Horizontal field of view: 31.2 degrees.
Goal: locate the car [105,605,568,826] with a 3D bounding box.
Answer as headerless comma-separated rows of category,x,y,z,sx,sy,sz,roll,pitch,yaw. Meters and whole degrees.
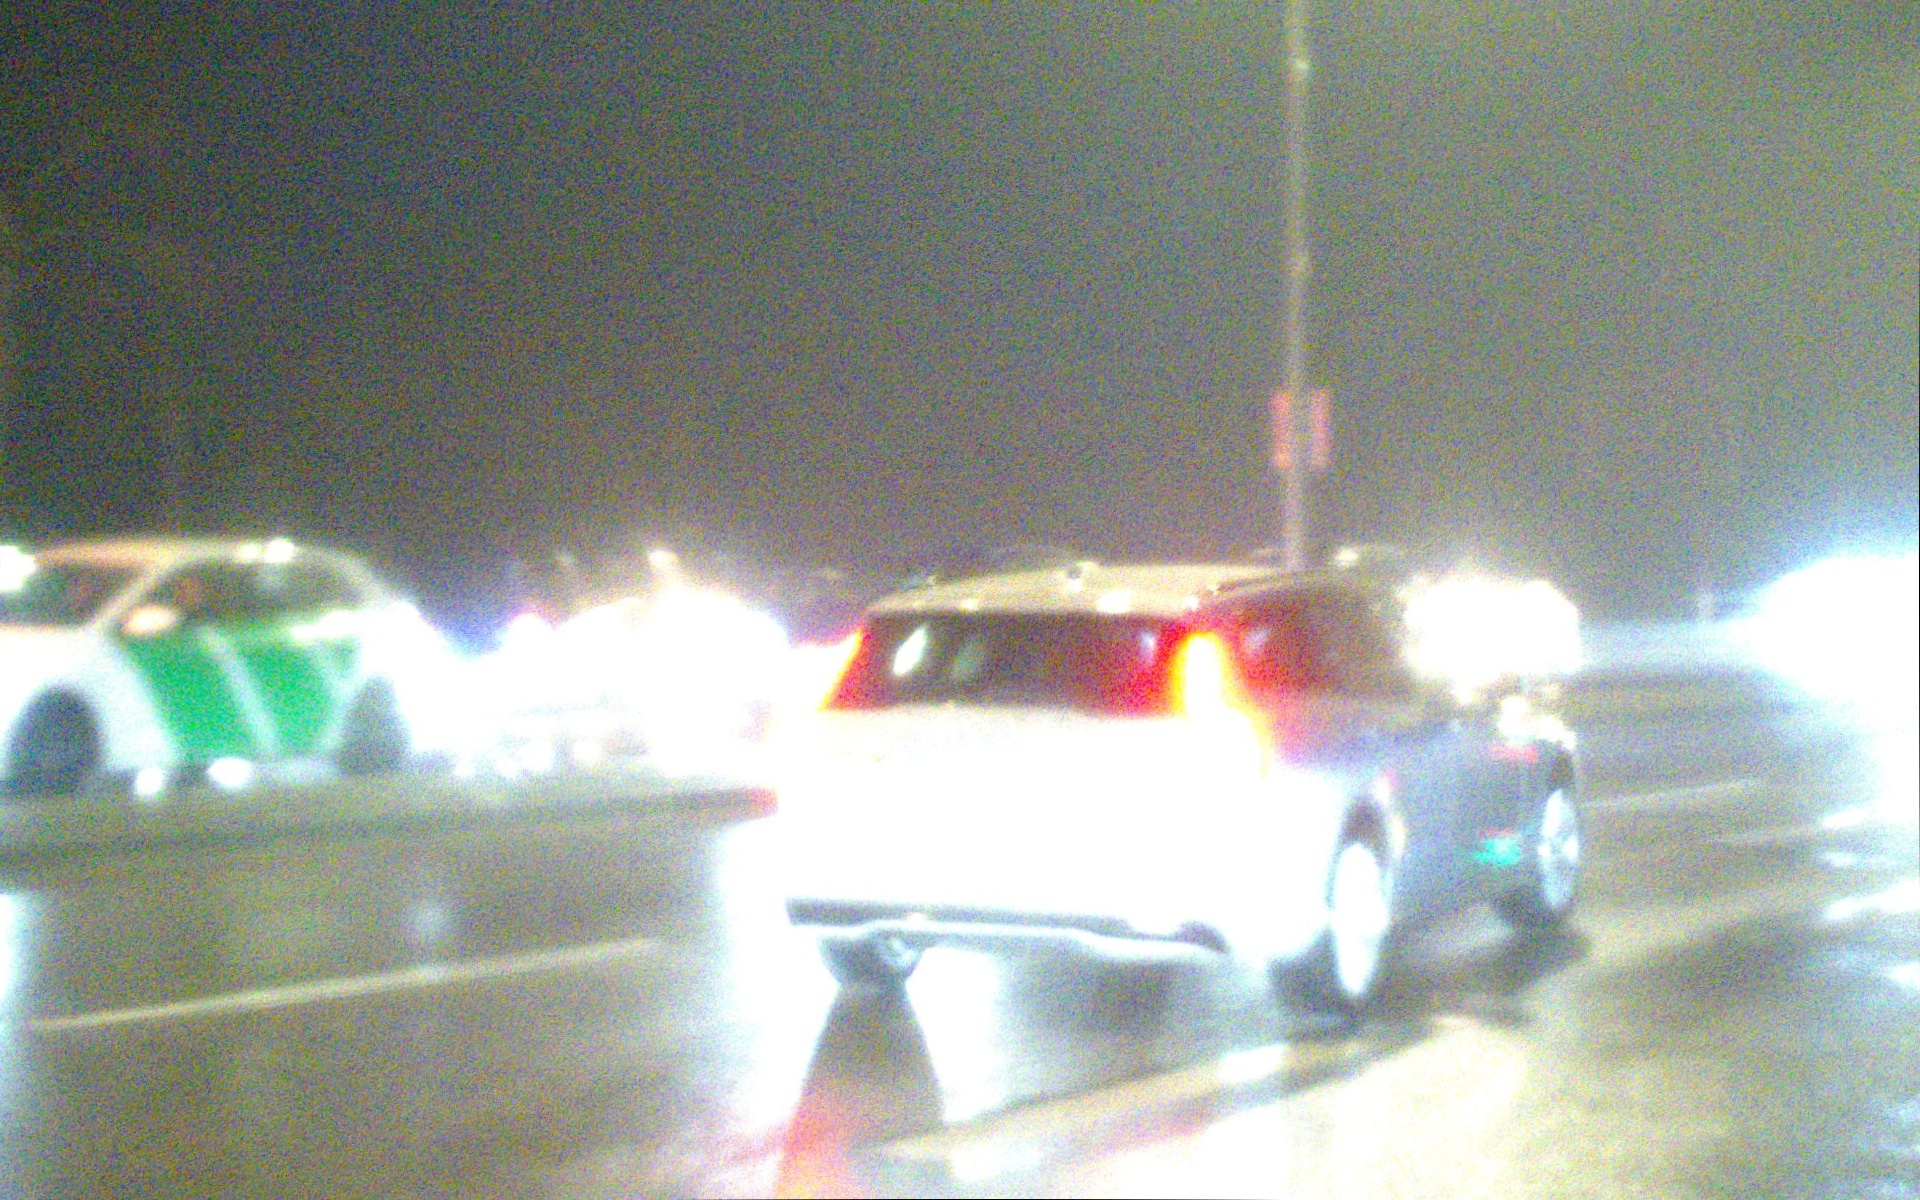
car,-5.593,1.030,31.297,1.763,1.842,4.116,1,-1,33

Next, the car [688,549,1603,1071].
car,0.869,0.609,12.206,1.799,1.447,4.263,2,1,24

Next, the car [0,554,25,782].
car,-9.326,0.470,25.894,1.802,1.793,4.242,1,-1,33

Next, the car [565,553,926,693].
car,-2.212,0.228,36.475,1.763,1.372,4.032,1,0,33

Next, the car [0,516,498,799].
car,-4.814,0.289,19.866,1.780,1.479,4.403,1,0,34

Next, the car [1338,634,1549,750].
car,7.336,1.349,51.837,1.496,1.596,4.138,2,1,33

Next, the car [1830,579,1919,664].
car,18.619,0.465,67.031,1.887,1.525,4.423,3,0,32

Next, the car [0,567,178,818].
car,-7.314,0.584,22.832,1.802,1.660,3.969,1,-1,33

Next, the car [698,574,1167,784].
car,-0.131,0.590,28.101,1.816,1.572,4.298,0,0,32
